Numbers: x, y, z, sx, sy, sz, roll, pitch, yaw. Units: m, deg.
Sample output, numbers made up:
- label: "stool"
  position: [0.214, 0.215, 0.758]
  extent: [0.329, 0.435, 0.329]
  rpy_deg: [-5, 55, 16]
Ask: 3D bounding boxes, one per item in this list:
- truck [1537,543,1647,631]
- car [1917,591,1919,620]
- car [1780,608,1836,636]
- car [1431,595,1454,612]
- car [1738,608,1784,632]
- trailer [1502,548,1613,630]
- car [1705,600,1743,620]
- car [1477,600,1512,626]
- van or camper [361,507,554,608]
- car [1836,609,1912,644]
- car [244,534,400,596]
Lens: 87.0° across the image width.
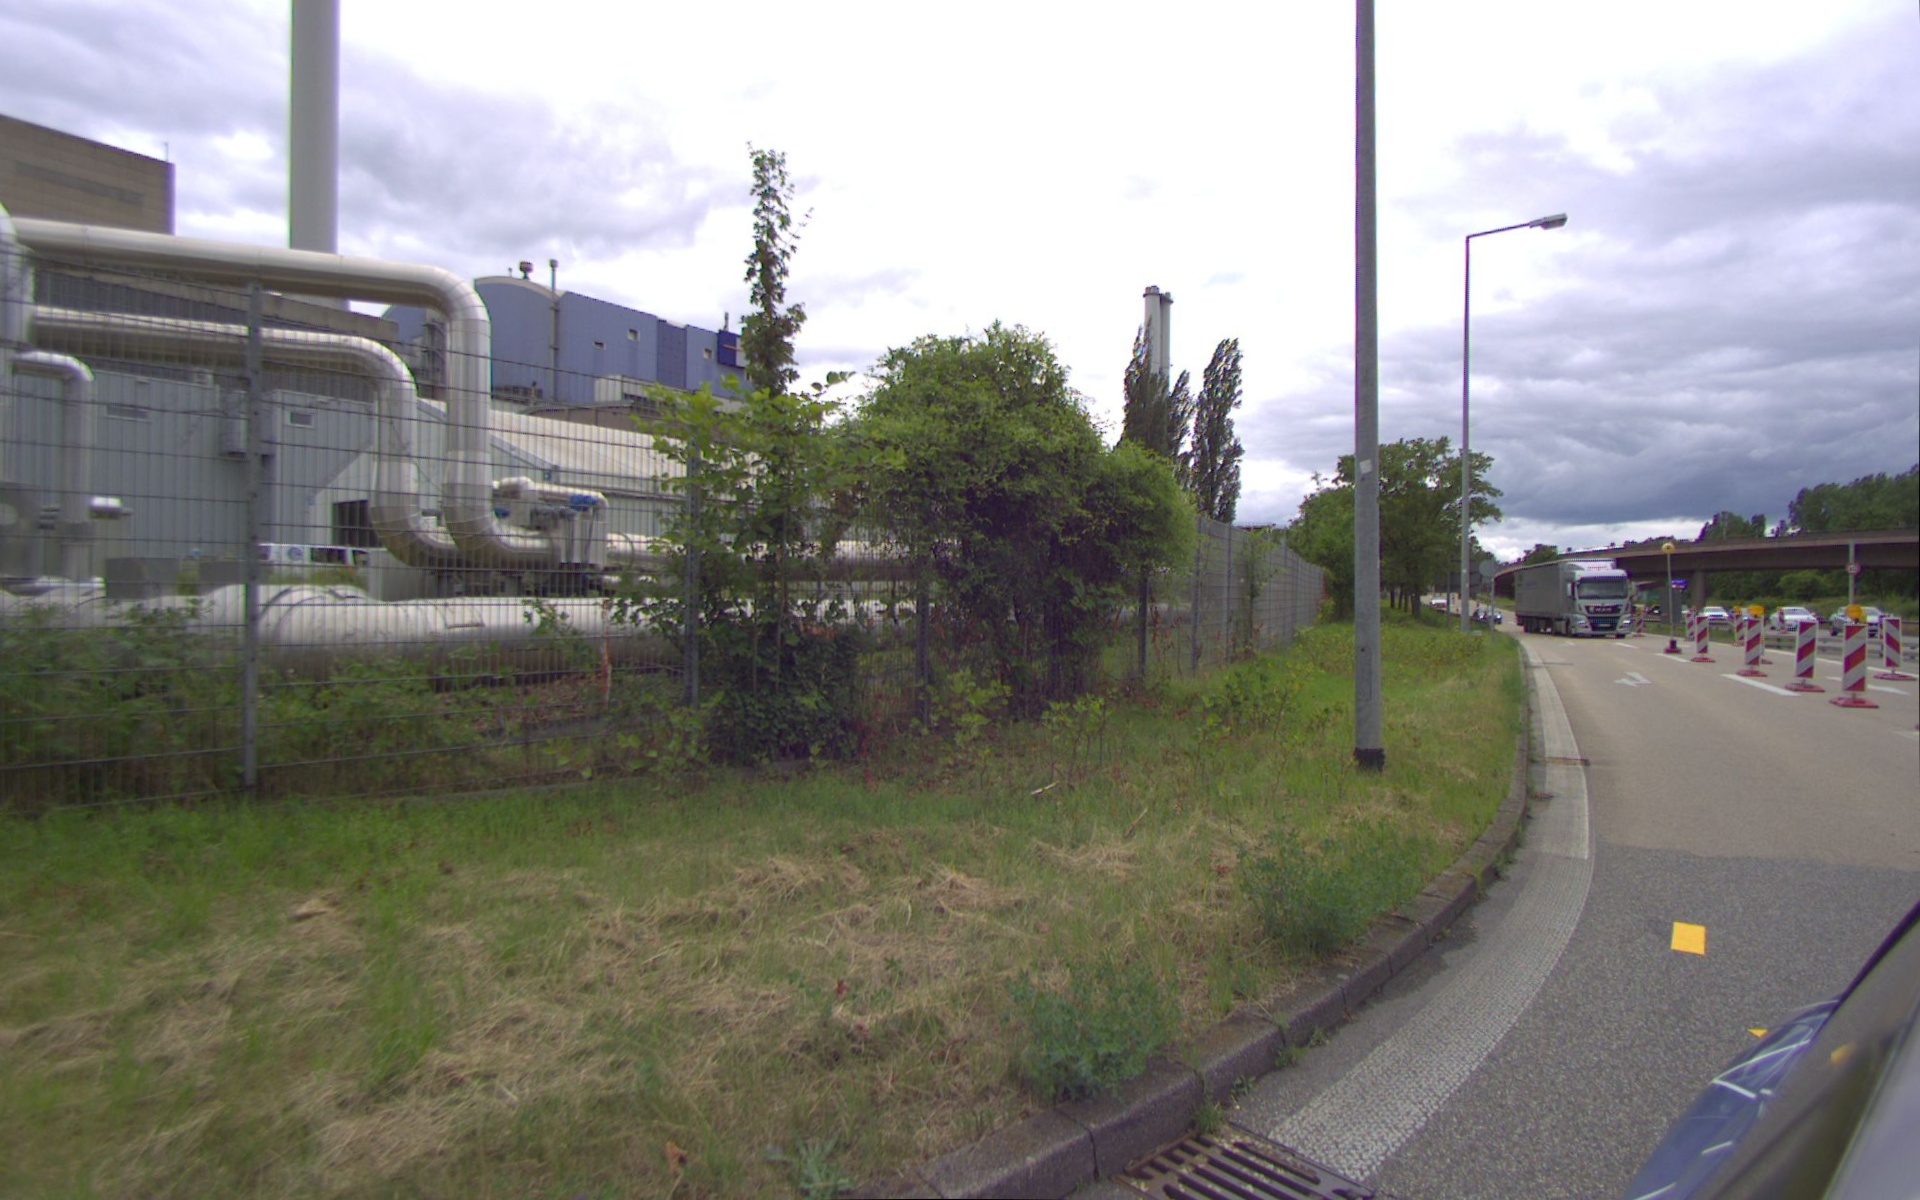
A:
- label: "truck"
  position: [32.637, -0.591, 52.638]
  extent: [3.125, 4.184, 8.085]
  rpy_deg: [-1, -1, 20]
- label: "car"
  position: [55.214, 0.304, 56.236]
  extent: [1.843, 1.661, 4.249]
  rpy_deg: [0, 0, 28]
- label: "car"
  position: [53.566, 1.367, 63.976]
  extent: [1.983, 1.614, 3.958]
  rpy_deg: [2, 1, 30]
- label: "car"
  position: [57.850, 0.407, 121.300]
  extent: [1.967, 1.886, 3.916]
  rpy_deg: [2, 0, 19]
- label: "car"
  position: [59.627, 1.471, 75.418]
  extent: [1.983, 1.614, 4.247]
  rpy_deg: [2, 1, 30]
- label: "trailer"
  position: [35.424, -0.539, 60.599]
  extent: [3.126, 4.379, 13.177]
  rpy_deg: [-1, -1, 19]
- label: "car"
  position: [65.208, 0.846, 86.397]
  extent: [1.983, 1.614, 4.247]
  rpy_deg: [2, 1, 30]
- label: "car"
  position: [43.918, 1.075, 83.191]
  extent: [1.976, 2.039, 3.972]
  rpy_deg: [2, 0, 20]
- label: "van or camper"
  position: [-14.359, -1.166, 28.748]
  extent: [6.094, 2.580, 2.541]
  rpy_deg: [2, 1, 38]
- label: "car"
  position: [46.246, 1.312, 51.305]
  extent: [1.785, 1.530, 3.965]
  rpy_deg: [2, 2, 26]
- label: "car"
  position: [-22.714, -1.197, 36.170]
  extent: [1.984, 2.039, 4.292]
  rpy_deg: [1, 1, 31]
